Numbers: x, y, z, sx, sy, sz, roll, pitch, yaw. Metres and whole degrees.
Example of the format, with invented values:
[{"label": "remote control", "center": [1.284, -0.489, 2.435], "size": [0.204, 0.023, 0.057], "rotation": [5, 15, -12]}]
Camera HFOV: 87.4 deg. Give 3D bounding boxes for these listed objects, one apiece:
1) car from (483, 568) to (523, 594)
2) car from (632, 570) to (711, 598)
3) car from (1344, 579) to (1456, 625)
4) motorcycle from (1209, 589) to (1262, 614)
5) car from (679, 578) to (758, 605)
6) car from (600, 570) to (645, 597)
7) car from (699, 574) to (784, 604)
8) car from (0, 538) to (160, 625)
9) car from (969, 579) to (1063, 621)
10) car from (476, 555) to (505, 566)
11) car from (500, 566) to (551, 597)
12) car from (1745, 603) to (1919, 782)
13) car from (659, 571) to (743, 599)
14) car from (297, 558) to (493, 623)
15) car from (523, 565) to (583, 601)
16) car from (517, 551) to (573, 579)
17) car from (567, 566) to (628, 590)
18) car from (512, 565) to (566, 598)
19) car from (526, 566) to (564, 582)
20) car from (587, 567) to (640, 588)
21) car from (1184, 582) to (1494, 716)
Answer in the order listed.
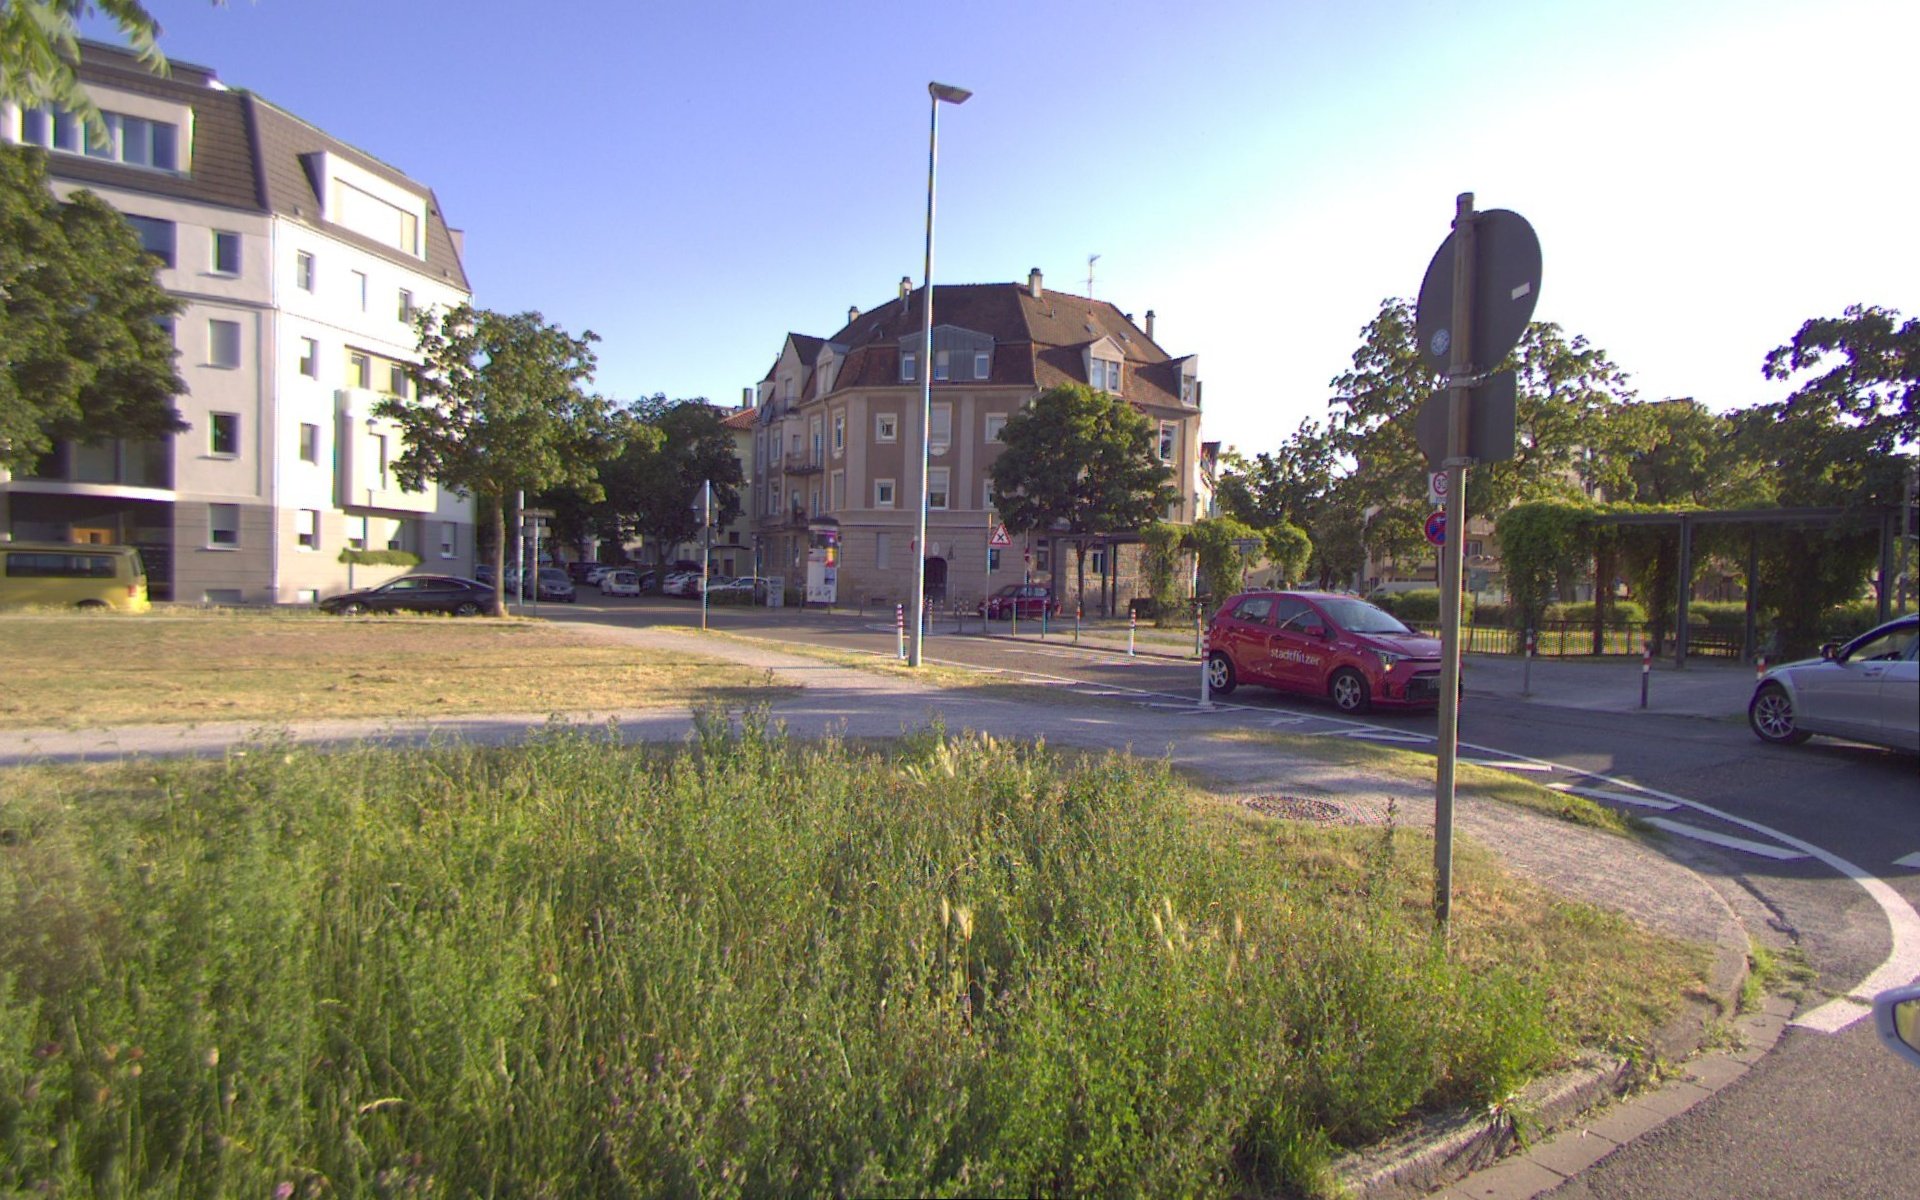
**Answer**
[{"label": "car", "center": [-27.464, -1.171, 60.348], "size": [1.744, 1.467, 4.107], "rotation": [2, 1, -31]}, {"label": "car", "center": [-18.320, -1.007, 63.895], "size": [4.492, 1.663, 1.857], "rotation": [1, 2, -33]}, {"label": "car", "center": [29.390, 0.107, 67.164], "size": [6.570, 2.781, 2.313], "rotation": [2, 1, 30]}, {"label": "motorcycle", "center": [17.179, 0.083, 62.677], "size": [0.847, 1.507, 3.190], "rotation": [2, 0, -42]}, {"label": "car", "center": [-13.758, -0.503, 57.287], "size": [4.111, 1.467, 1.658], "rotation": [0, 2, -33]}, {"label": "car", "center": [-19.805, -0.950, 58.901], "size": [1.800, 1.492, 4.184], "rotation": [1, 1, -29]}, {"label": "car", "center": [-11.582, -0.570, 53.246], "size": [4.017, 1.526, 1.845], "rotation": [1, 2, -33]}, {"label": "car", "center": [-22.999, -0.463, 24.956], "size": [4.643, 2.040, 2.015], "rotation": [1, 1, -33]}, {"label": "car", "center": [2.625, 0.014, 47.260], "size": [4.040, 1.764, 1.797], "rotation": [1, 3, -30]}, {"label": "car", "center": [-69.611, -5.814, 148.999], "size": [3.812, 1.502, 1.790], "rotation": [1, 2, -31]}, {"label": "car", "center": [-24.189, -1.031, 55.864], "size": [1.870, 1.612, 4.052], "rotation": [1, 1, -34]}, {"label": "car", "center": [9.134, 0.809, 8.907], "size": [1.786, 1.492, 4.218], "rotation": [2, 0, 13]}, {"label": "car", "center": [-15.330, -0.882, 59.614], "size": [4.450, 1.546, 1.933], "rotation": [-1, 3, -37]}, {"label": "car", "center": [-16.287, -0.247, 29.148], "size": [4.784, 1.691, 1.773], "rotation": [1, 1, -31]}, {"label": "car", "center": [-19.503, -0.824, 48.076], "size": [1.870, 1.612, 4.052], "rotation": [1, 1, -34]}, {"label": "car", "center": [-46.810, -3.952, 113.309], "size": [5.502, 3.008, 2.448], "rotation": [1, 2, -34]}, {"label": "car", "center": [-31.265, -1.877, 86.659], "size": [4.589, 1.861, 1.937], "rotation": [2, 1, -32]}, {"label": "car", "center": [-21.751, -0.978, 51.829], "size": [1.870, 1.612, 4.052], "rotation": [1, 1, -34]}, {"label": "car", "center": [-45.303, -2.846, 109.665], "size": [3.568, 1.682, 1.634], "rotation": [1, 2, -34]}, {"label": "car", "center": [-27.310, -1.752, 79.144], "size": [3.702, 1.579, 1.710], "rotation": [1, 2, -33]}, {"label": "car", "center": [4.974, 0.572, 13.690], "size": [1.748, 1.546, 3.746], "rotation": [1, 0, -27]}]
